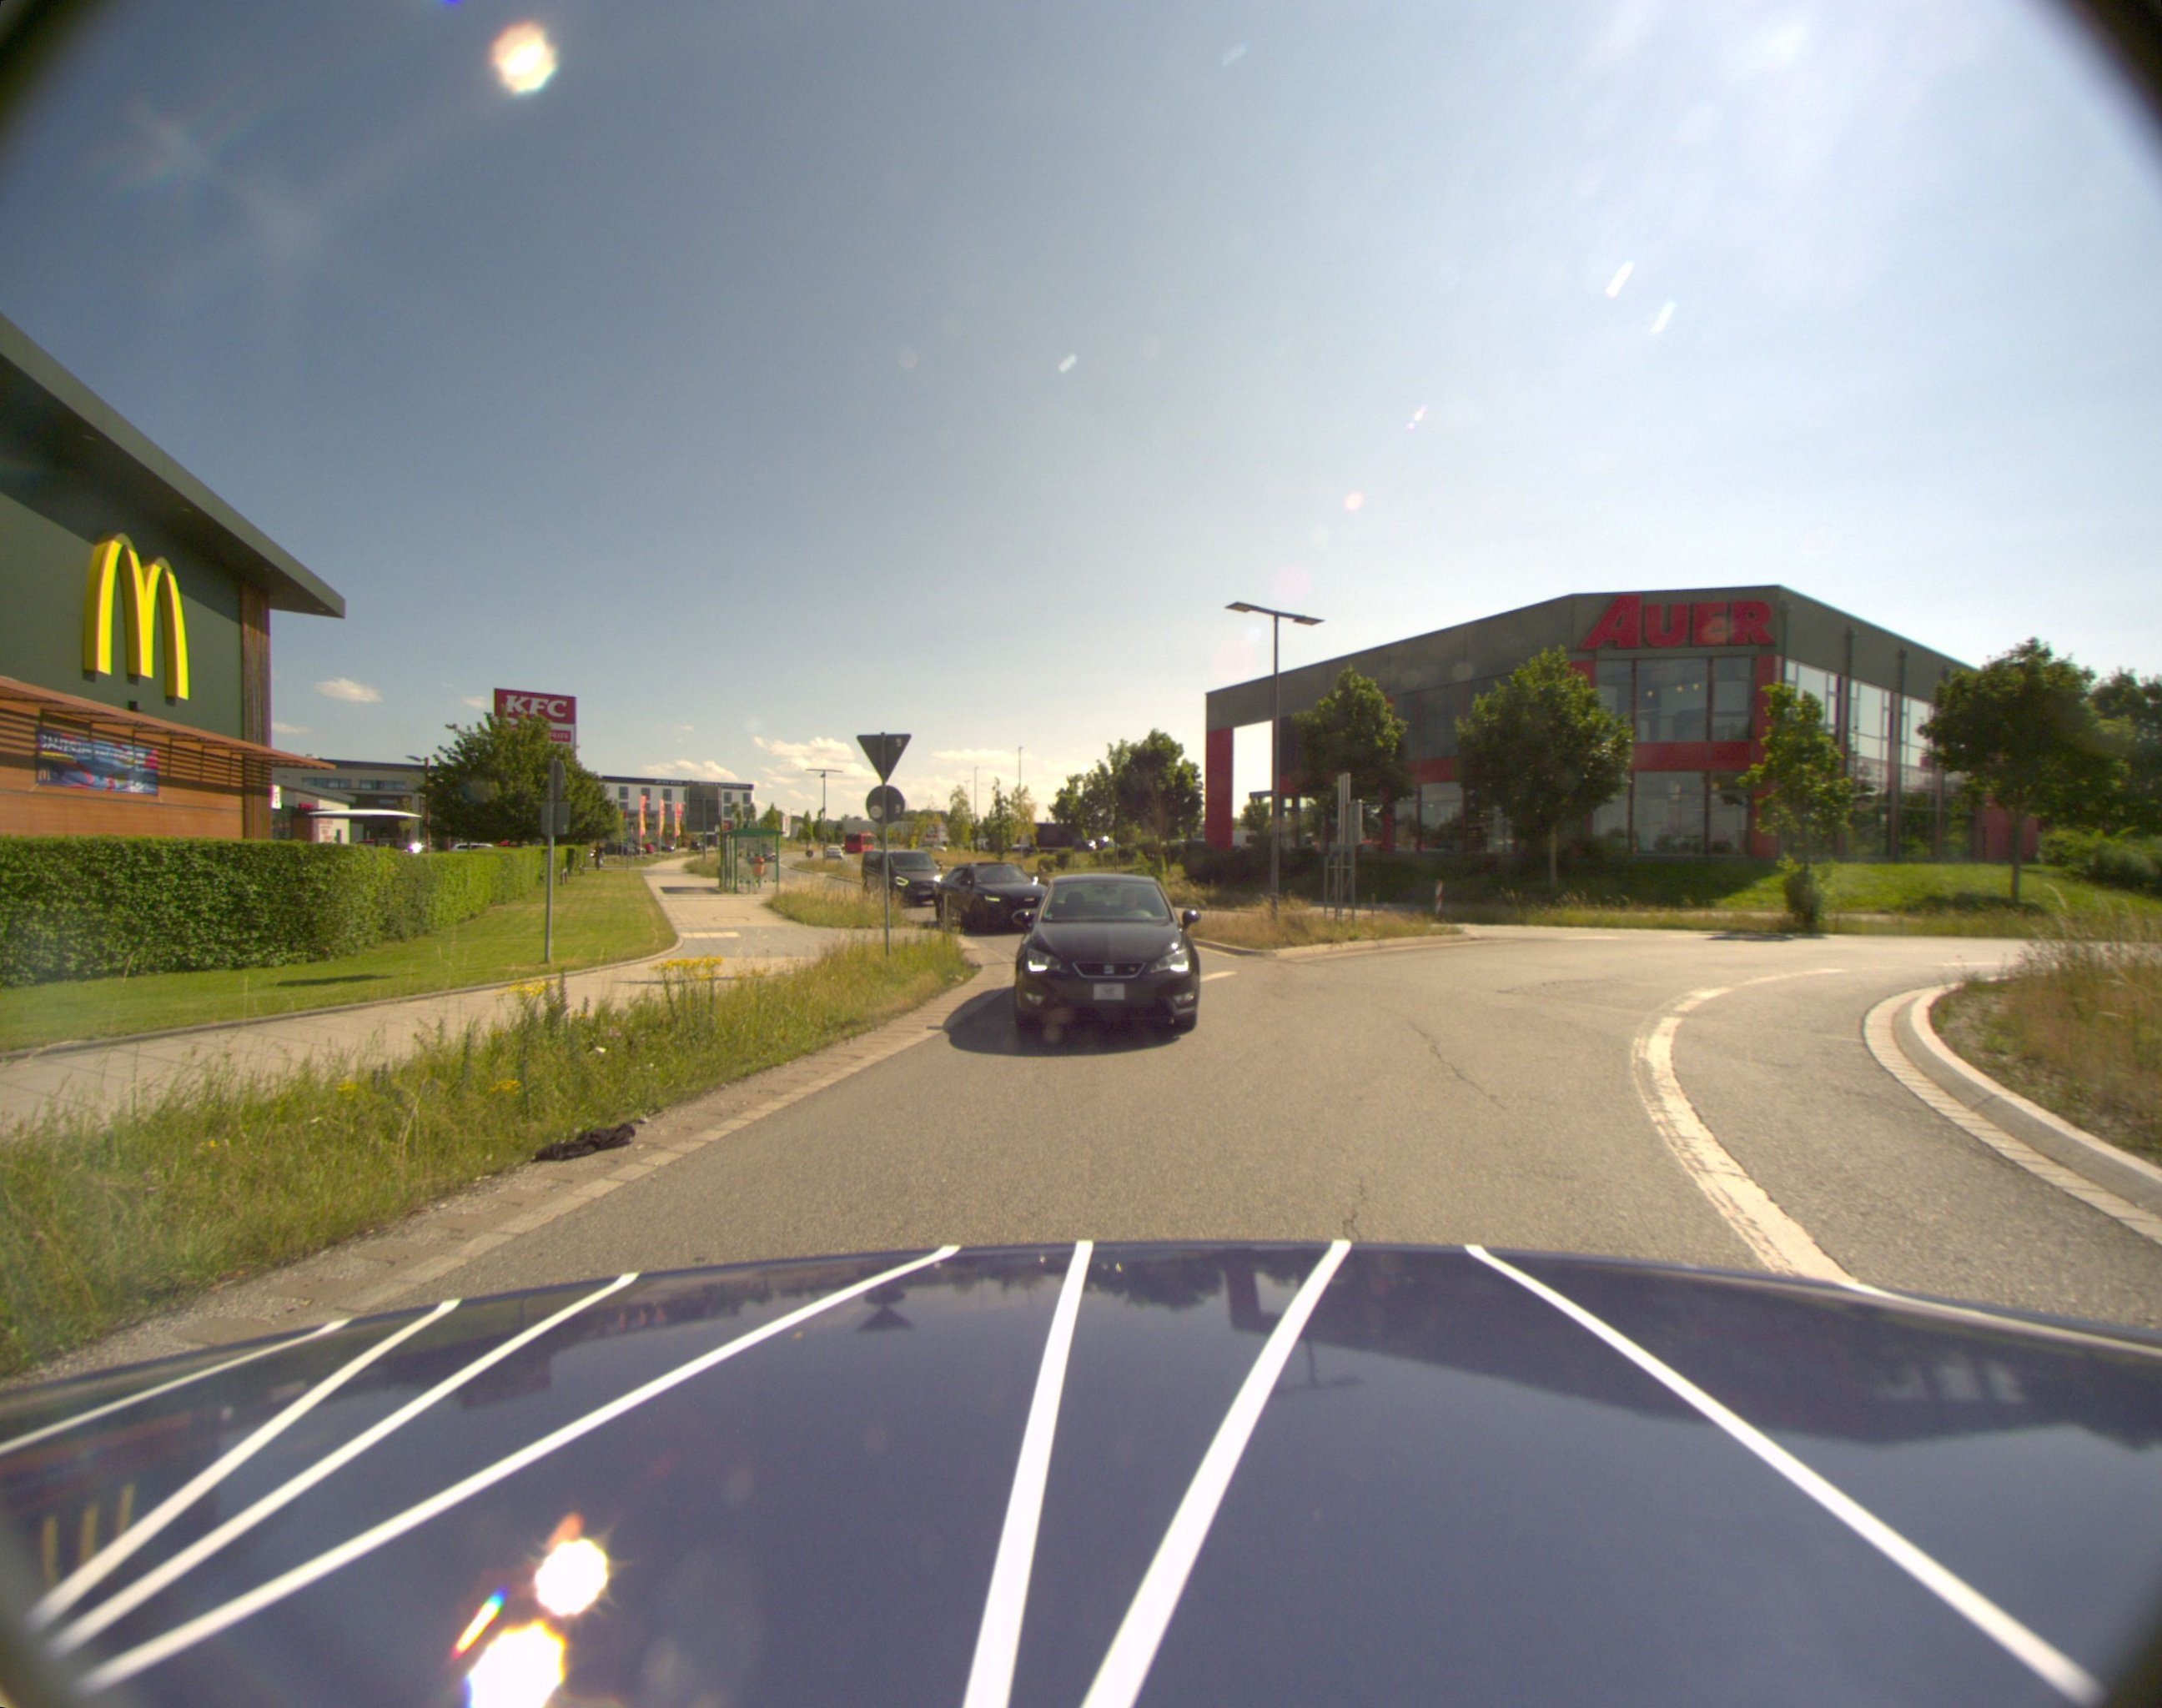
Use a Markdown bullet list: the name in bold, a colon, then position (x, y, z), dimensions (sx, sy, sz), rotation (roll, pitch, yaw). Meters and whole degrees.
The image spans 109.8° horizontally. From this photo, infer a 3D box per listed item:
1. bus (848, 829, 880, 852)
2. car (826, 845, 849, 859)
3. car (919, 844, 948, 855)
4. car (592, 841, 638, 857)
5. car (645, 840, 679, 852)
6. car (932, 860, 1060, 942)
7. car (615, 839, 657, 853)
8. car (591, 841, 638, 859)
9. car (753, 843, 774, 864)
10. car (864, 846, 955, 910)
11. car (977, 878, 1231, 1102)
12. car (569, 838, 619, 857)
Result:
- **bus**: position (-32.385, -1.947, 114.028), dimensions (2.617, 3.223, 11.872), rotation (0, 1, -6)
- **car**: position (-26.675, -0.227, 83.333), dimensions (1.798, 1.408, 4.377), rotation (0, 1, -10)
- **car**: position (-22.242, -0.674, 114.425), dimensions (3.942, 1.667, 1.620), rotation (1, 1, 5)
- **car**: position (-54.303, -0.566, 88.593), dimensions (4.189, 1.847, 1.801), rotation (0, 1, -13)
- **car**: position (-56.950, -1.138, 103.352), dimensions (3.828, 1.610, 1.754), rotation (0, 1, -17)
- **car**: position (-2.297, 1.103, 19.561), dimensions (1.865, 1.679, 3.990), rotation (-3, 3, -28)
- **car**: position (-56.526, -1.008, 96.622), dimensions (4.189, 1.752, 1.821), rotation (0, 1, -13)
- **car**: position (-53.027, -0.469, 86.479), dimensions (4.190, 2.002, 1.930), rotation (0, 1, -16)
- **car**: position (-29.088, -0.066, 69.620), dimensions (1.732, 1.893, 3.992), rotation (0, 1, -22)
- **car**: position (-6.493, 0.781, 28.392), dimensions (2.083, 2.037, 4.671), rotation (-3, 3, -28)
- **car**: position (0.228, 1.062, 7.586), dimensions (1.861, 1.460, 4.000), rotation (0, 1, 2)
- **car**: position (-52.863, -0.738, 82.488), dimensions (4.190, 2.002, 1.930), rotation (0, 1, -17)
